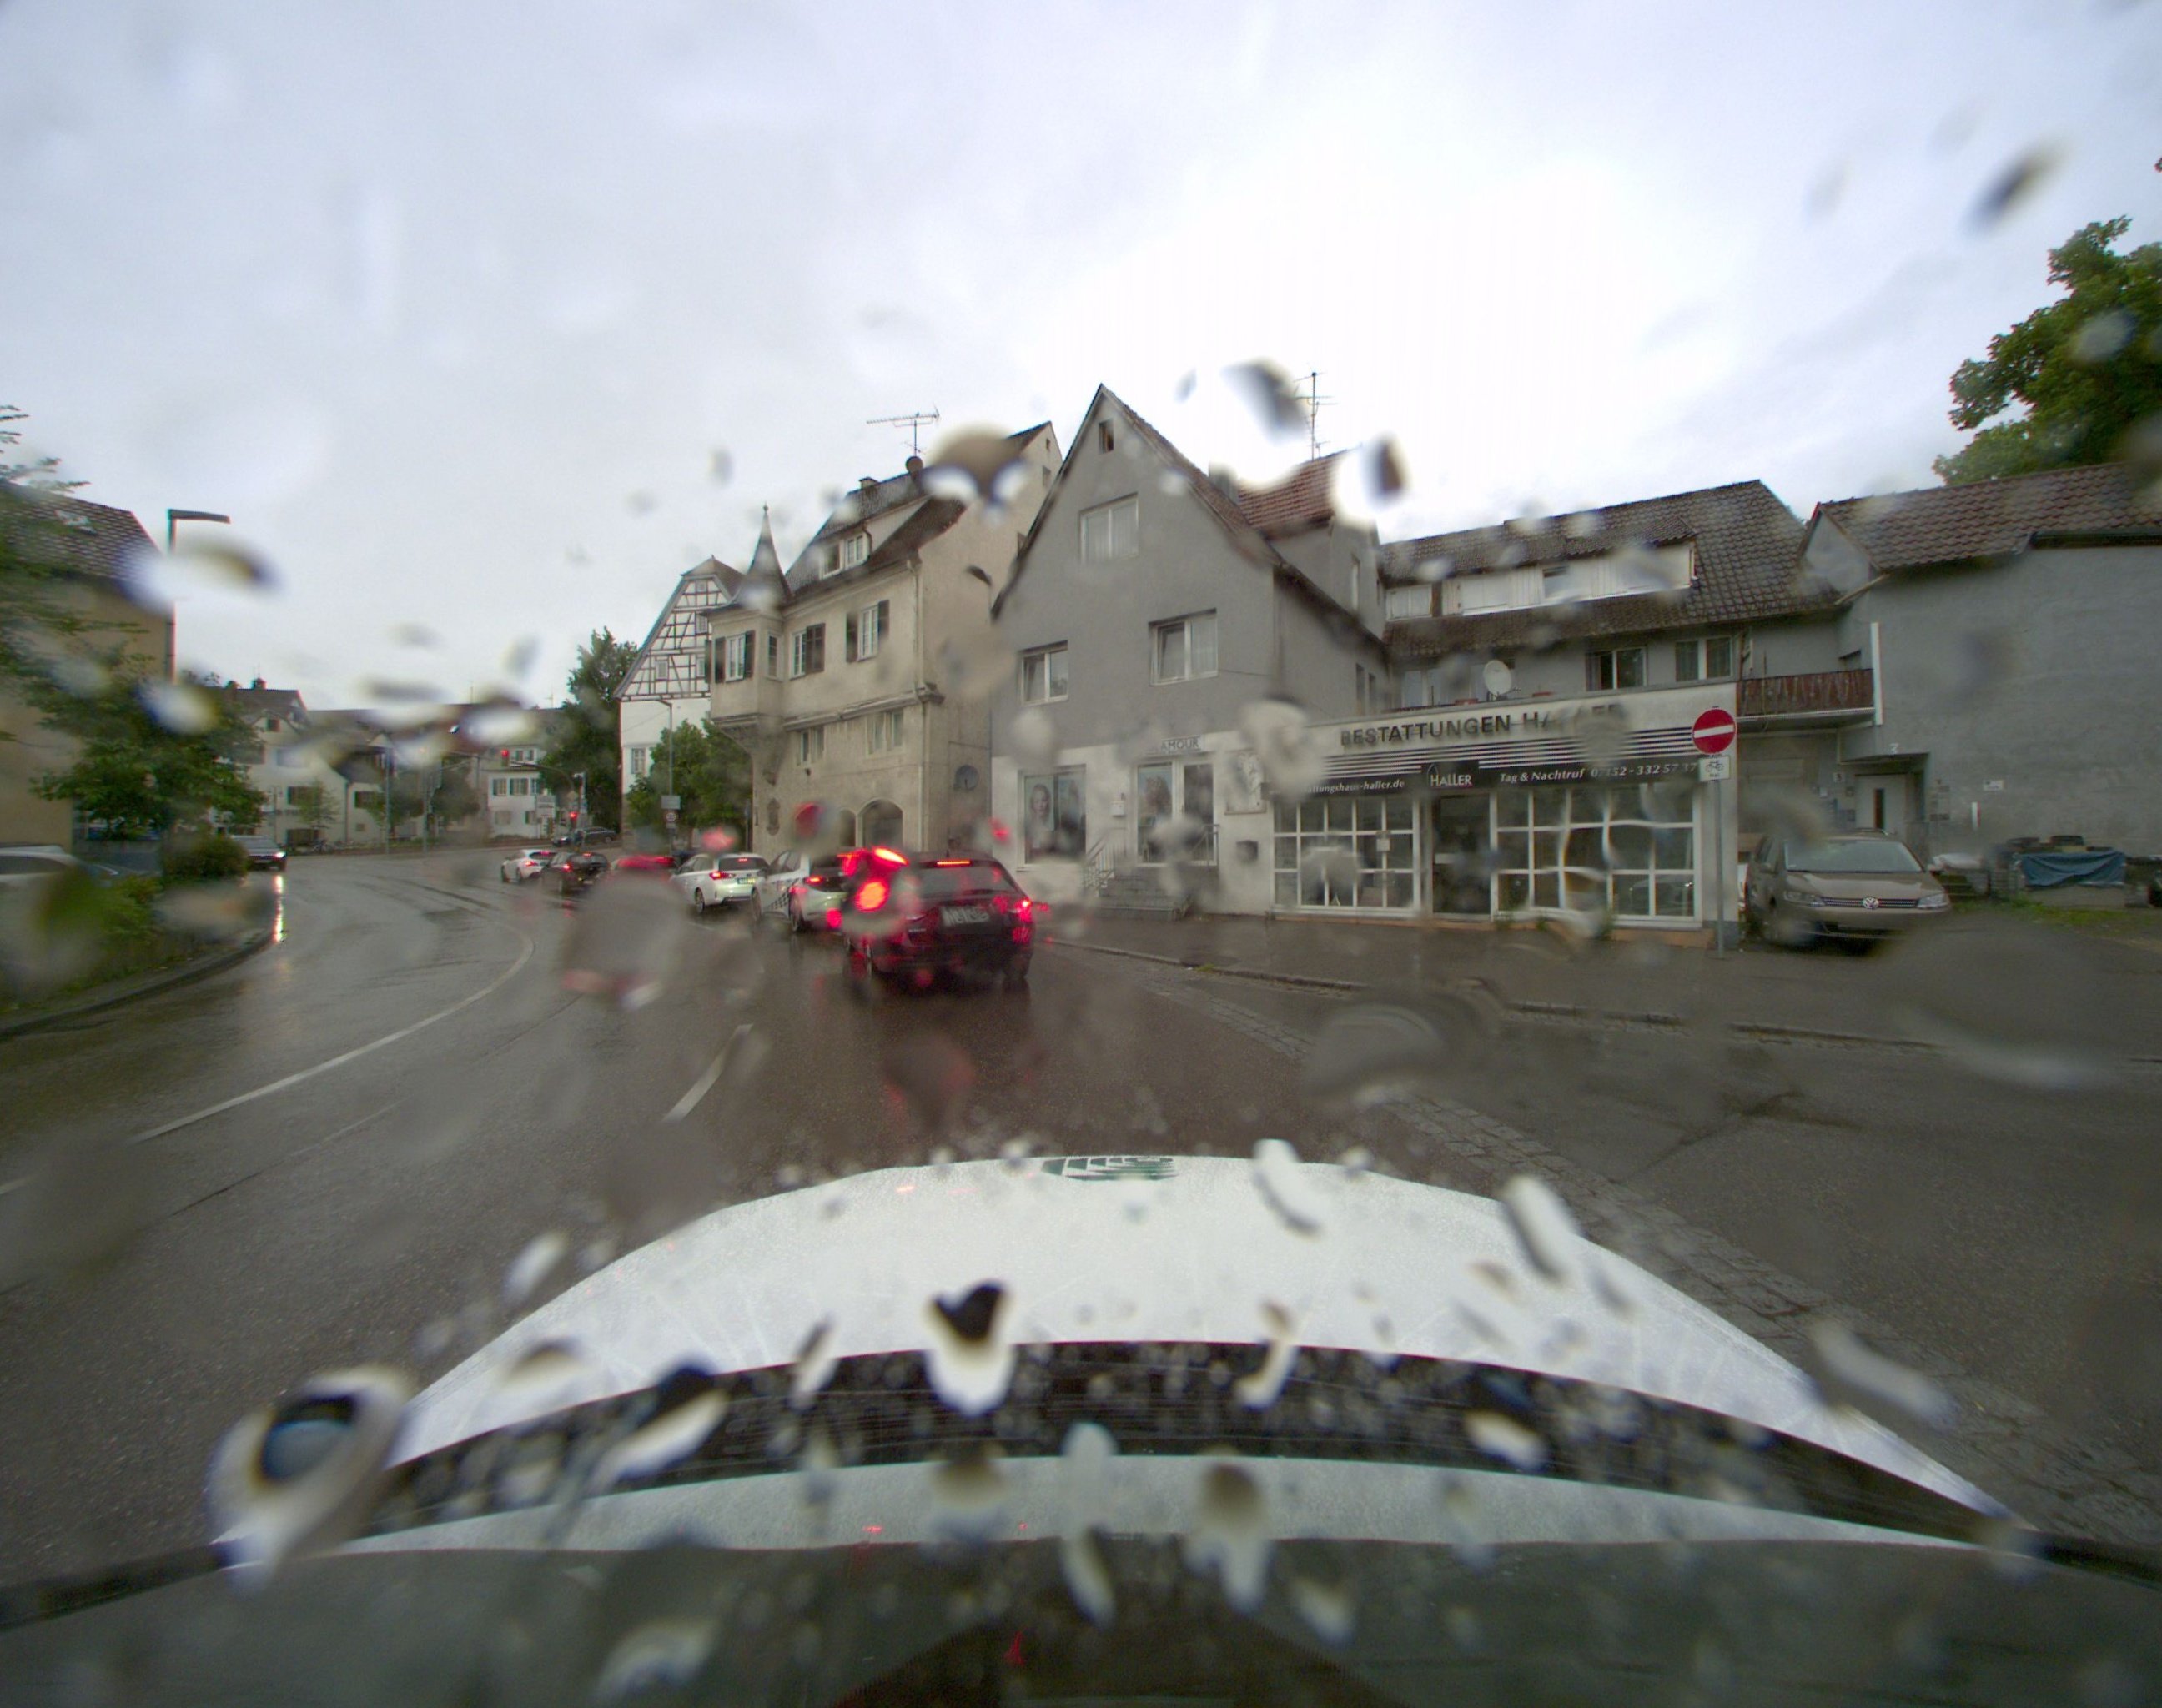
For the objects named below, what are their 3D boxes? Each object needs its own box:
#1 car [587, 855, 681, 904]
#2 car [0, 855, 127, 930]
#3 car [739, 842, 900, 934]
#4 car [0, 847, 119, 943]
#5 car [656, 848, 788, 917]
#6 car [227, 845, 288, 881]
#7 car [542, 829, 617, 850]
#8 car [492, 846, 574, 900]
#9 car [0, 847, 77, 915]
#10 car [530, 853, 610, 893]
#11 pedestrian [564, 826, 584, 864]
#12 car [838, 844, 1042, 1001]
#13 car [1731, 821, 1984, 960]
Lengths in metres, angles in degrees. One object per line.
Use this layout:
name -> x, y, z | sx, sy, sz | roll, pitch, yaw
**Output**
car -> -14.138, 0.750, 25.678 | 3.721, 1.361, 1.533 | 1, 3, 44
car -> -22.396, 0.799, 16.526 | 1.692, 1.455, 3.558 | 0, 1, 24
car -> -5.307, 0.584, 16.156 | 1.803, 1.517, 4.194 | -2, 1, -36
car -> -20.131, 0.746, 14.461 | 1.692, 1.685, 3.558 | 0, 1, 24
car -> -9.158, 0.634, 20.589 | 1.801, 1.465, 4.114 | -3, 2, -42
car -> -37.905, 0.440, 37.563 | 1.748, 1.510, 4.221 | -3, 1, -43
car -> -37.554, -1.080, 61.134 | 1.632, 1.389, 4.555 | 7, 3, 23
car -> -23.516, 0.746, 34.902 | 3.911, 2.090, 1.992 | 1, 2, 42
car -> -26.202, 0.645, 18.730 | 1.692, 1.576, 3.558 | 0, 1, 24
car -> -18.943, 0.647, 30.138 | 3.579, 1.312, 1.678 | 1, 3, 44
pedestrian -> -31.467, -0.570, 50.511 | 0.872, 2.326, 1.216 | -1, 0, -40
car -> -1.966, 0.631, 10.155 | 1.738, 1.450, 4.212 | -2, 2, -21
car -> 11.721, 0.389, 12.695 | 1.905, 1.727, 4.698 | -1, 2, 32
